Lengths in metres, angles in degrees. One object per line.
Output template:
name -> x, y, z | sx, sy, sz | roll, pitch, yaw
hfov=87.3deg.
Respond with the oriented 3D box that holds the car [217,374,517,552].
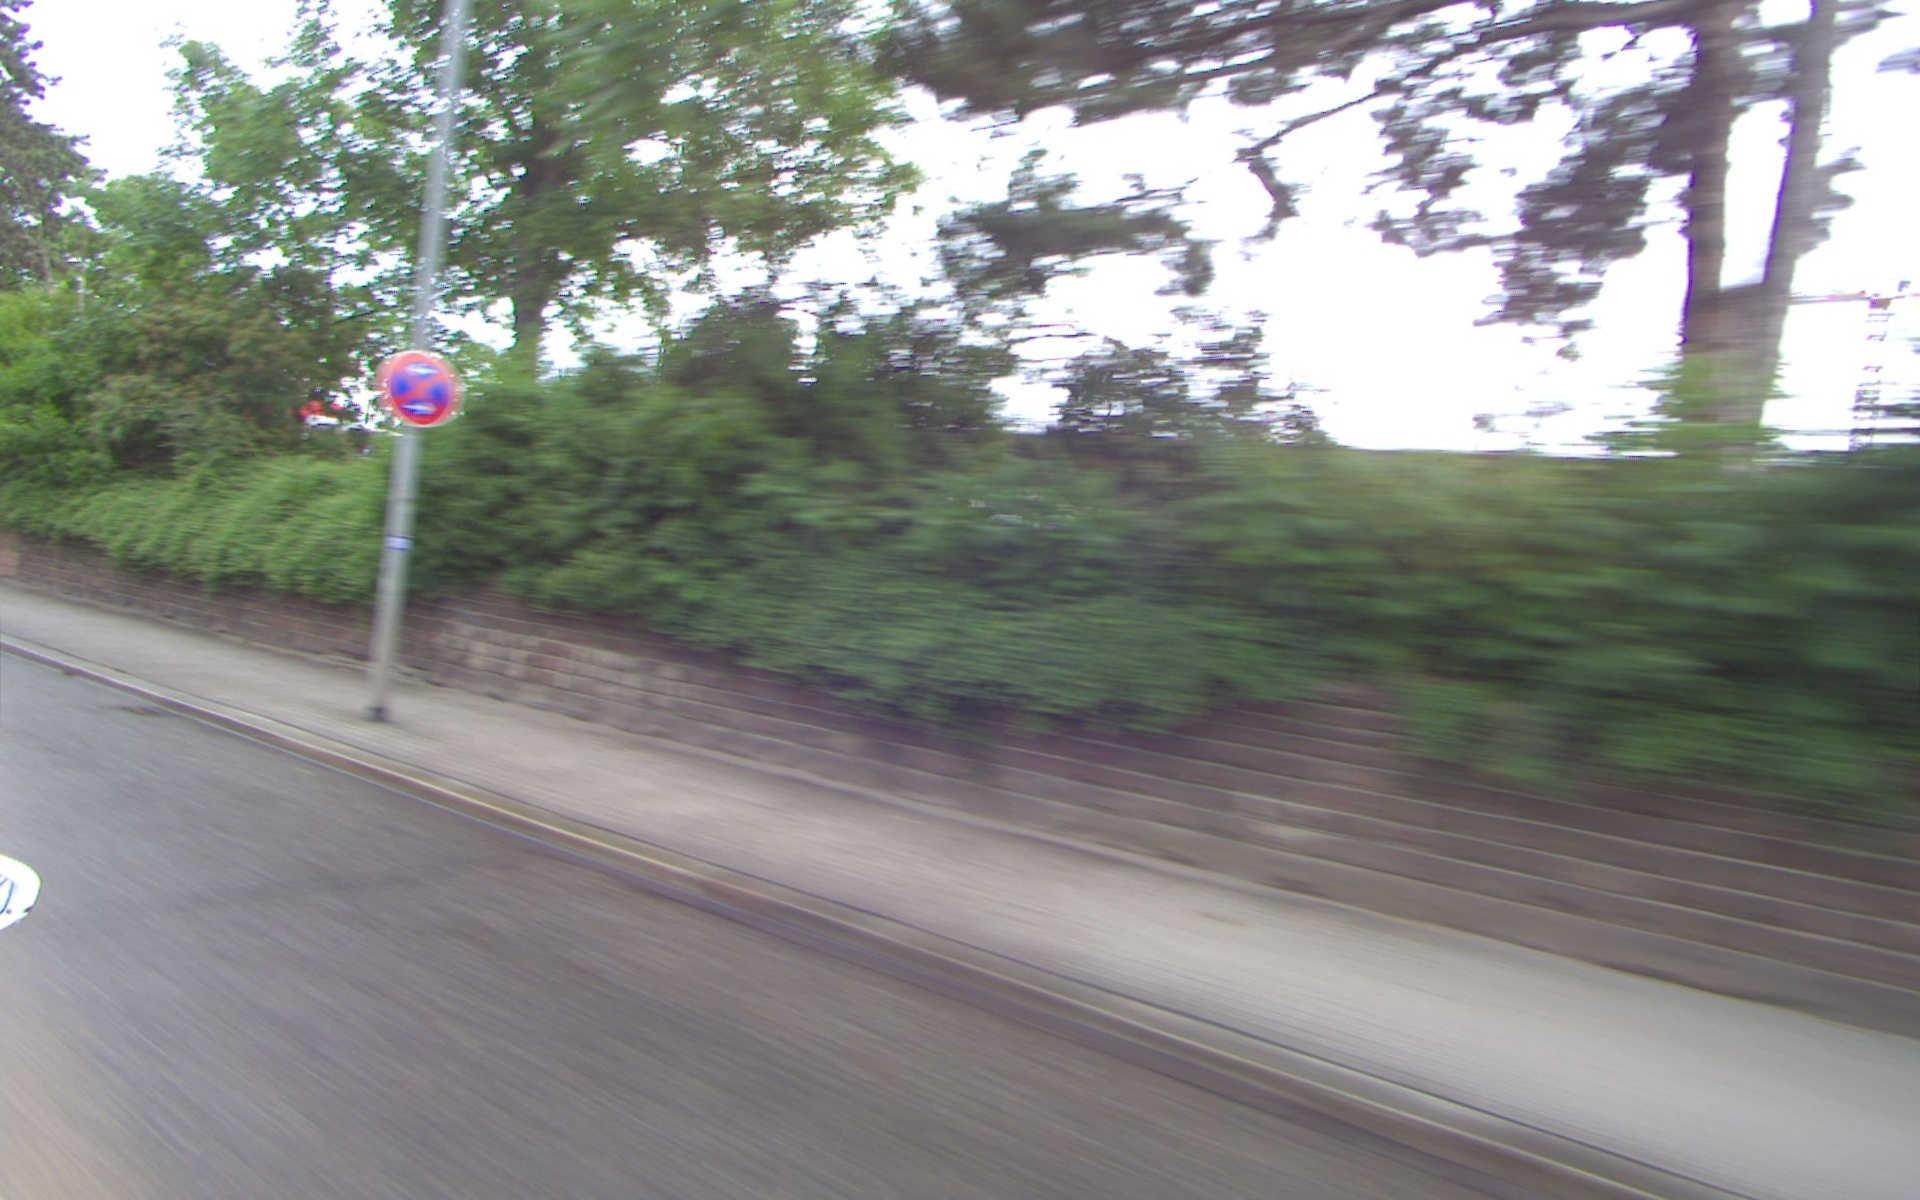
car -> -10.246, -2.260, 17.576 | 1.973, 2.247, 3.979 | 7, 0, 43
